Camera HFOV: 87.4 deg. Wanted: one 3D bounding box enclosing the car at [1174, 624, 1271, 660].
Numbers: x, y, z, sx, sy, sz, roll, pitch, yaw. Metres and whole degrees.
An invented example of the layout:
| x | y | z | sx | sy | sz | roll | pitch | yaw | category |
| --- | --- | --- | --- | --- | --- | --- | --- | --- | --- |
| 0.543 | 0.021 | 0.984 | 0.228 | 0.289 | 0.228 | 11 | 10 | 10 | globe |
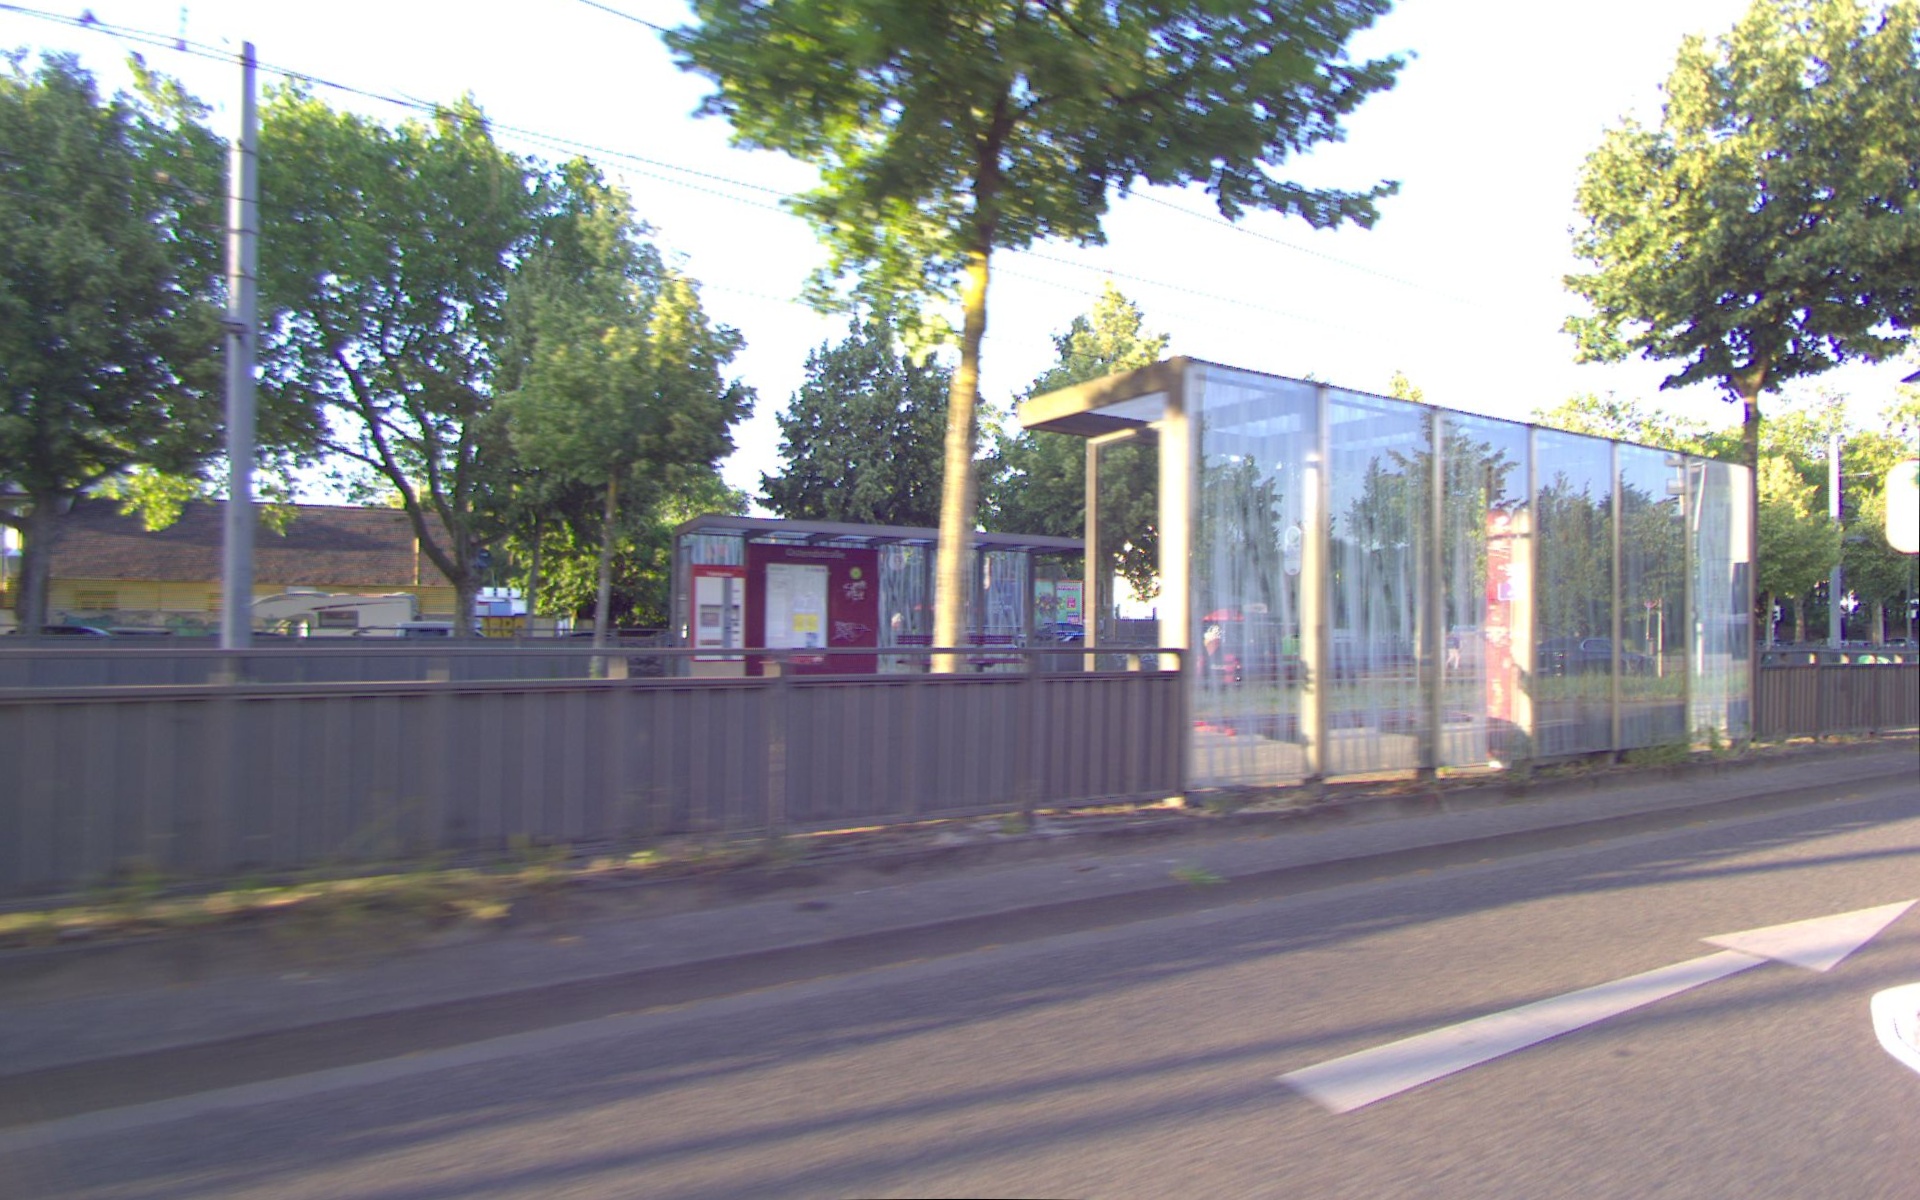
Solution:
| x | y | z | sx | sy | sz | roll | pitch | yaw | category |
| --- | --- | --- | --- | --- | --- | --- | --- | --- | --- |
| 12.377 | 1.960 | 47.371 | 4.244 | 1.606 | 1.985 | 1 | -1 | -28 | car |

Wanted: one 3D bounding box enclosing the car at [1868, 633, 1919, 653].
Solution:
| x | y | z | sx | sy | sz | roll | pitch | yaw | category |
| --- | --- | --- | --- | --- | --- | --- | --- | --- | --- |
| 71.844 | 3.299 | 76.989 | 4.502 | 1.518 | 1.985 | 2 | -2 | -29 | car |

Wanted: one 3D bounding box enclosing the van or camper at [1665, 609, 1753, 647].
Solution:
| x | y | z | sx | sy | sz | roll | pitch | yaw | category |
| --- | --- | --- | --- | --- | --- | --- | --- | --- | --- |
| 49.515 | 1.857 | 66.361 | 5.704 | 2.396 | 2.277 | 1 | -1 | -25 | van or camper |

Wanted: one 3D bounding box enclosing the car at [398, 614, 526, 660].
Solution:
| x | y | z | sx | sy | sz | roll | pitch | yaw | category |
| --- | --- | --- | --- | --- | --- | --- | --- | --- | --- |
| -17.642 | 1.304 | 35.772 | 3.946 | 1.550 | 1.988 | 1 | -1 | -25 | car |

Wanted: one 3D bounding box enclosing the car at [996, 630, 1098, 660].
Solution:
| x | y | z | sx | sy | sz | roll | pitch | yaw | category |
| --- | --- | --- | --- | --- | --- | --- | --- | --- | --- |
| 3.811 | 1.956 | 43.825 | 4.038 | 1.217 | 1.985 | 1 | -1 | -28 | car |

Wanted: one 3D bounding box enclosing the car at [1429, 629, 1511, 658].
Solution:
| x | y | z | sx | sy | sz | roll | pitch | yaw | category |
| --- | --- | --- | --- | --- | --- | --- | --- | --- | --- |
| 28.133 | 2.389 | 55.413 | 4.245 | 1.520 | 1.985 | 1 | -1 | -28 | car |

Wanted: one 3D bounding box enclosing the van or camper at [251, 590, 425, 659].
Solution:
| x | y | z | sx | sy | sz | roll | pitch | yaw | category |
| --- | --- | --- | --- | --- | --- | --- | --- | --- | --- |
| -24.602 | 0.994 | 40.062 | 5.554 | 2.597 | 2.386 | 1 | -1 | -24 | van or camper |

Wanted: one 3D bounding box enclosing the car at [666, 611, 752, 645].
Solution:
| x | y | z | sx | sy | sz | roll | pitch | yaw | category |
| --- | --- | --- | --- | --- | --- | --- | --- | --- | --- |
| -11.681 | 1.287 | 46.706 | 3.594 | 1.520 | 1.819 | 1 | -1 | -25 | car |

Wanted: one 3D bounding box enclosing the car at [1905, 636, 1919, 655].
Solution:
| x | y | z | sx | sy | sz | roll | pitch | yaw | category |
| --- | --- | --- | --- | --- | --- | --- | --- | --- | --- |
| 76.825 | 3.605 | 79.383 | 4.254 | 1.519 | 1.892 | 2 | -2 | -29 | car |
